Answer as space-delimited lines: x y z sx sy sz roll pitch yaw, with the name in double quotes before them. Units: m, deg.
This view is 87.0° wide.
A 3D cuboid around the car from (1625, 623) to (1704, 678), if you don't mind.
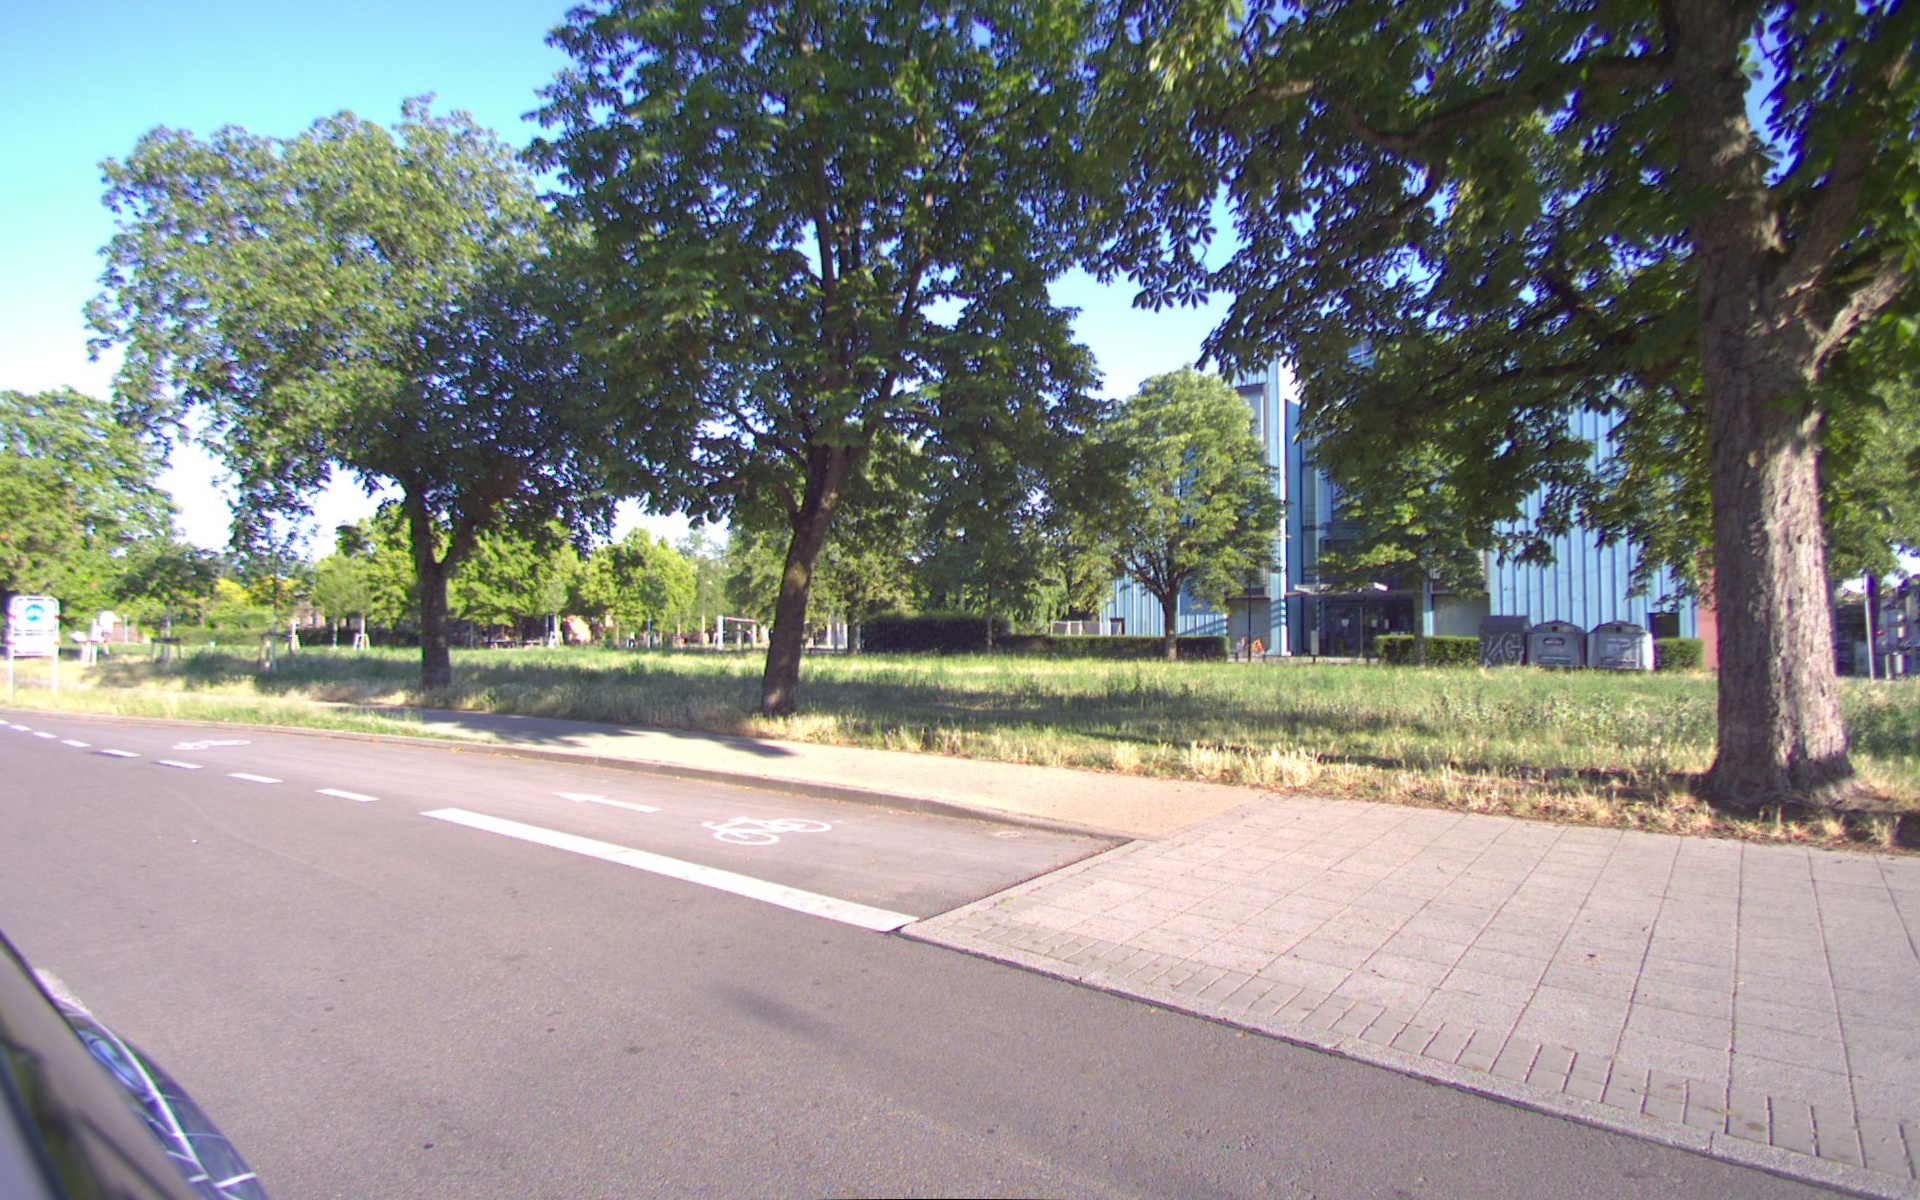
"car" 23.648 1.731 33.883 1.996 1.684 5.158 -1 -4 37
